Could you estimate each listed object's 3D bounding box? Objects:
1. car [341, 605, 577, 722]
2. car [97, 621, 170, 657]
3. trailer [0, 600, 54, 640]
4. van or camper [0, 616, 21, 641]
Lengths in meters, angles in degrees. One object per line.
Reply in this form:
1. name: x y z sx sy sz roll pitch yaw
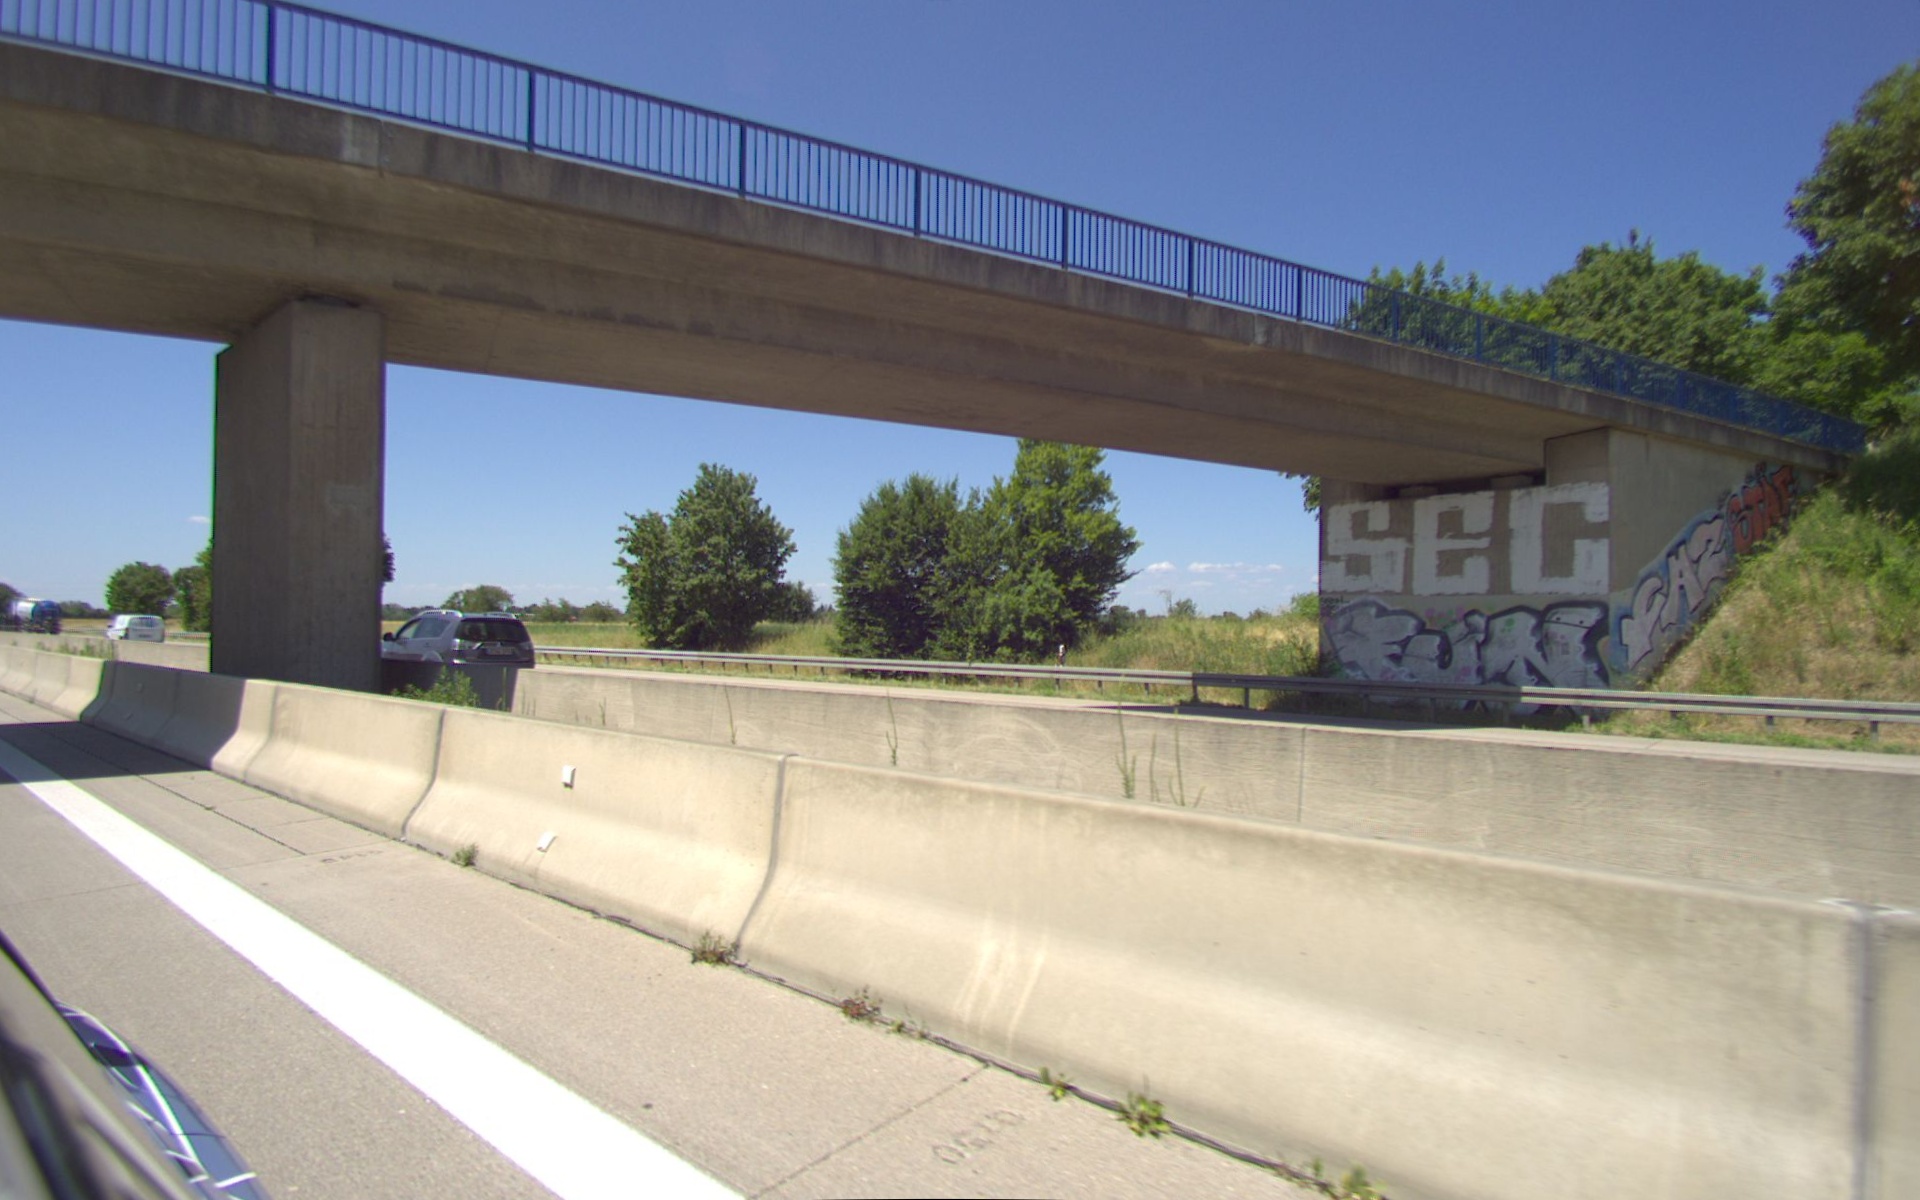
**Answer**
1. car: -10.224 1.146 20.419 5.652 2.029 2.282 -1 0 41
2. car: -47.296 2.175 57.860 5.681 1.973 2.229 -1 -2 41
3. trailer: -97.604 2.067 105.606 12.997 3.999 2.650 -1 -2 40
4. van or camper: -86.169 2.536 91.092 4.793 2.236 1.917 -1 0 41
